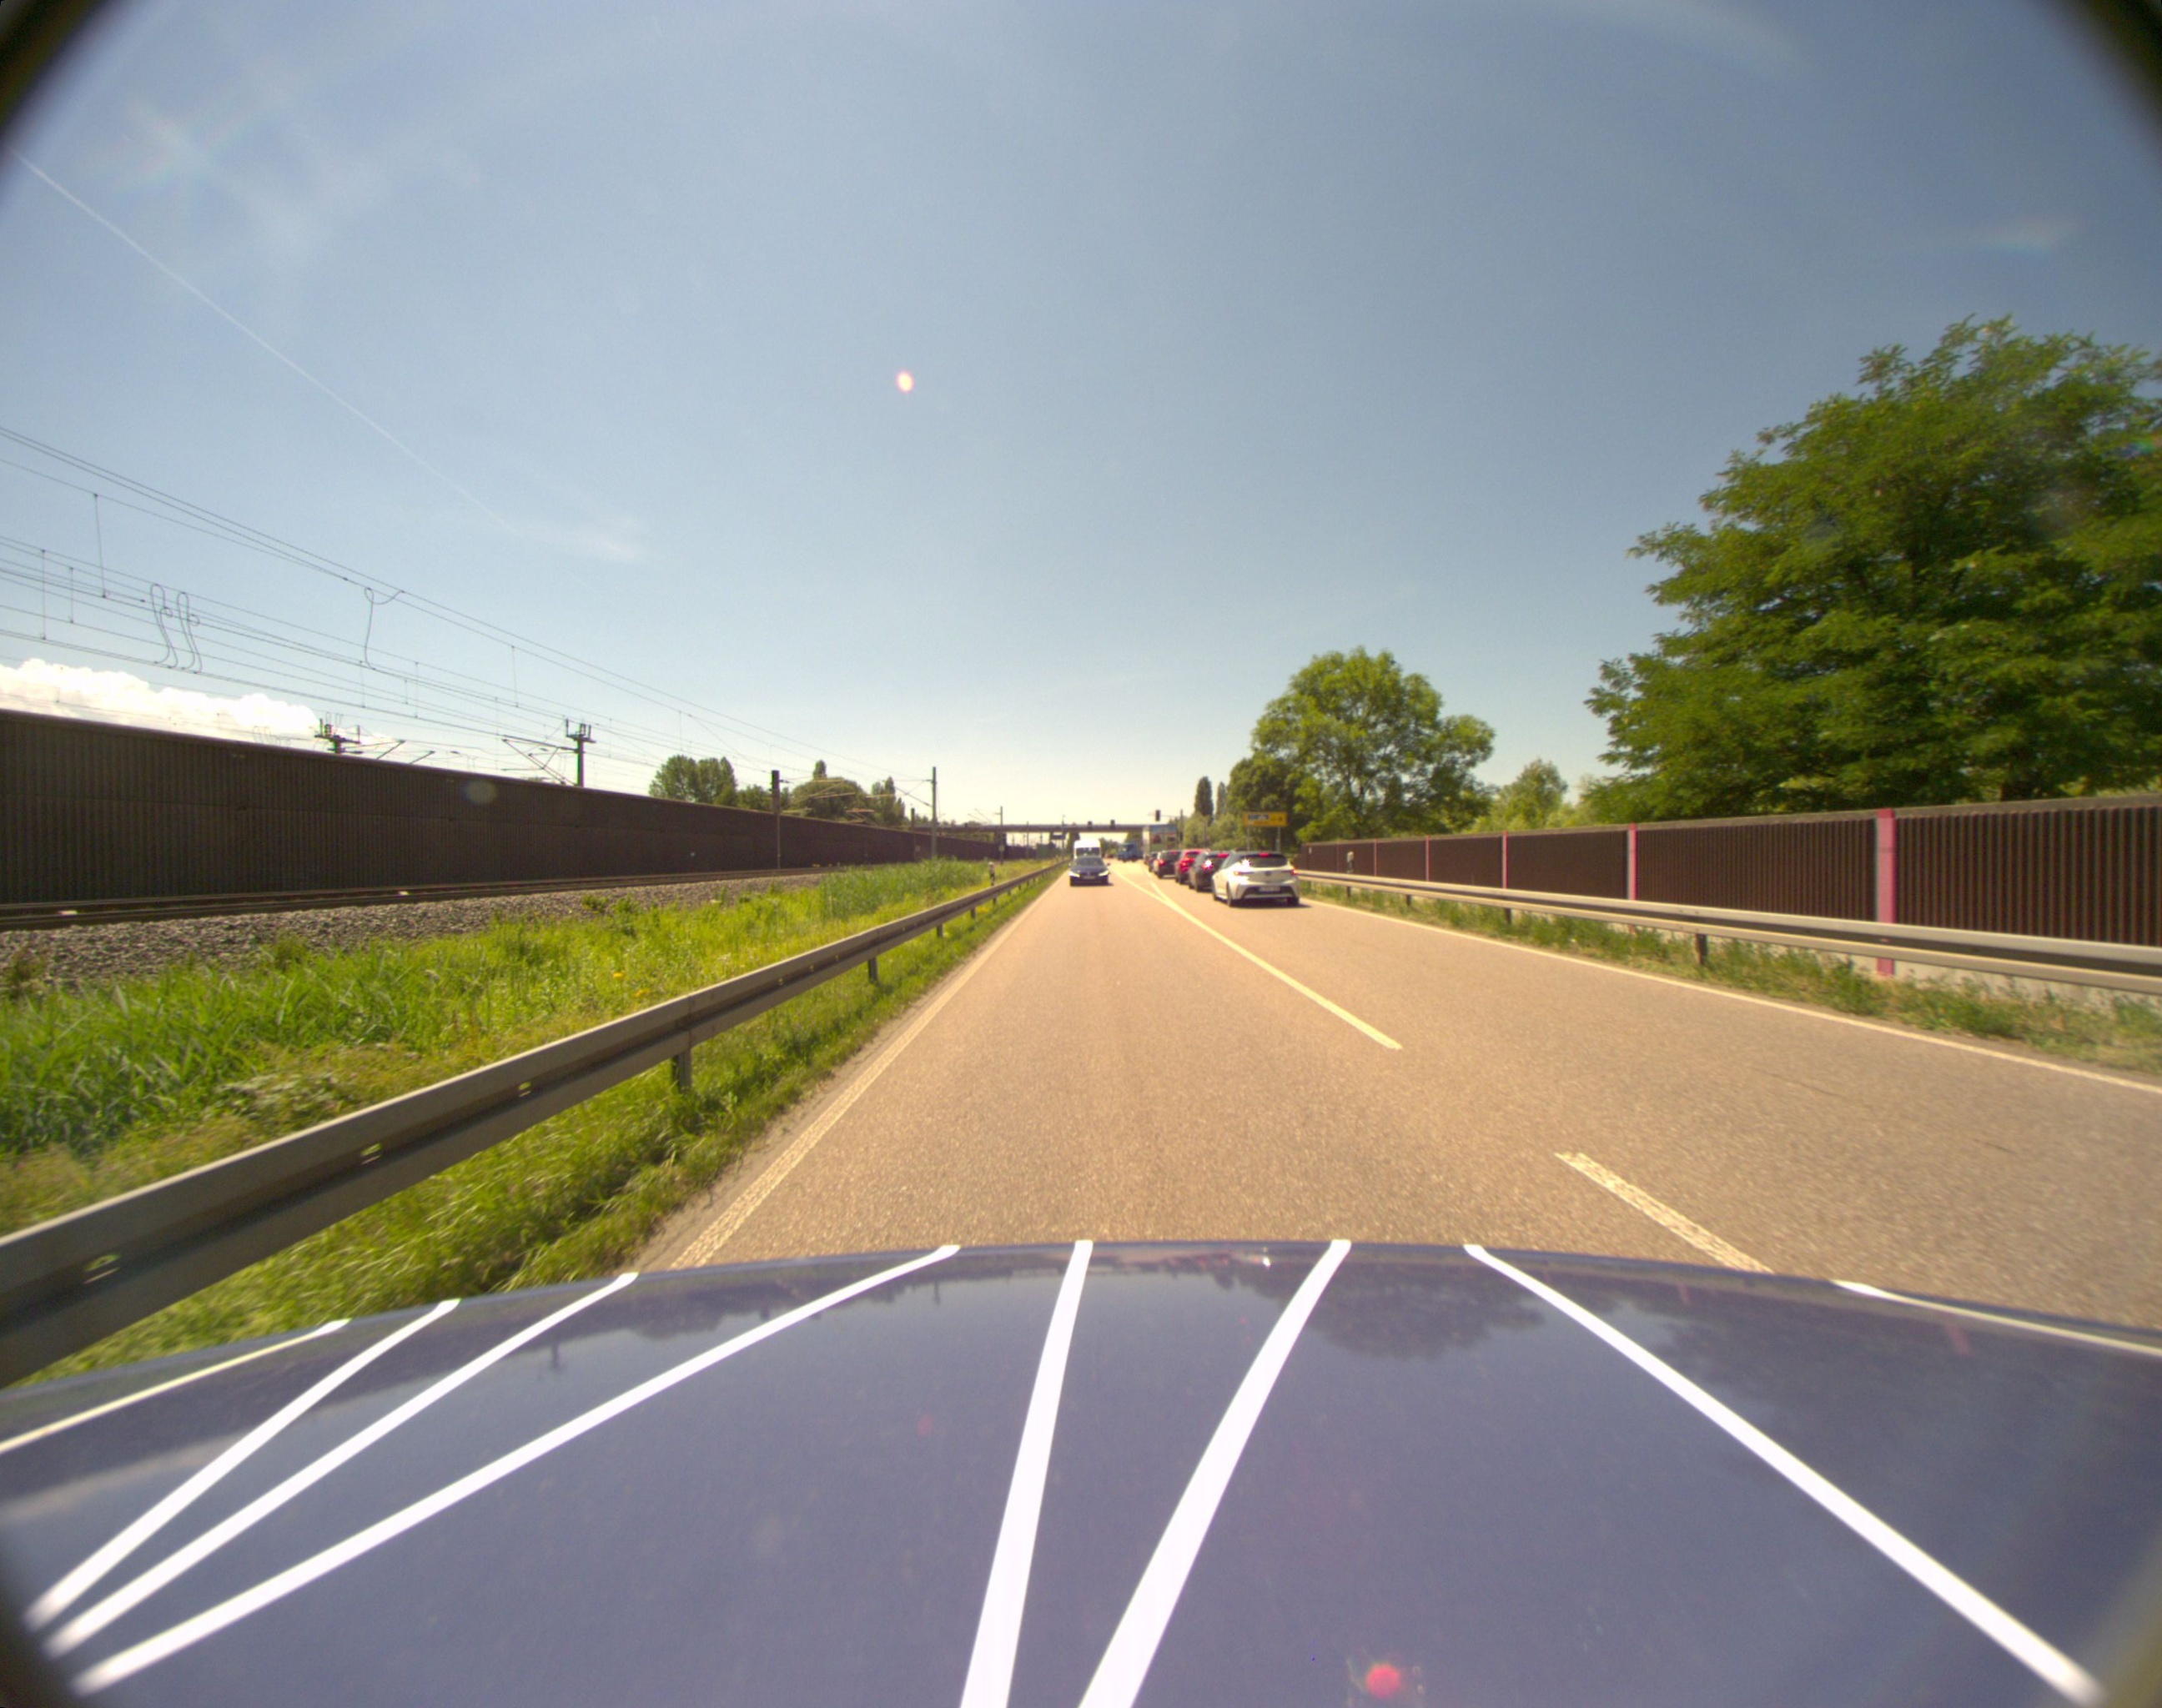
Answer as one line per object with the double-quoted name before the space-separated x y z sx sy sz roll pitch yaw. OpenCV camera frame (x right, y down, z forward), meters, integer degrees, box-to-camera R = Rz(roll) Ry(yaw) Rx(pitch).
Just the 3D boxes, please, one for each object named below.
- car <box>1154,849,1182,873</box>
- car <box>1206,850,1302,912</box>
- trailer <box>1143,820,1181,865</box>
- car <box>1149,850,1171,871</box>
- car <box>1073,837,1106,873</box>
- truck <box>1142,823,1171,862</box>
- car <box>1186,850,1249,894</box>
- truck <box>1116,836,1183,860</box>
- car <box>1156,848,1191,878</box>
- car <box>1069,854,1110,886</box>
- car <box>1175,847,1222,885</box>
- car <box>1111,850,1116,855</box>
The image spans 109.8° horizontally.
"car" 5.740 0.456 50.567 1.657 1.470 4.631 -2 0 4
"car" 4.631 0.659 21.000 1.689 1.451 4.616 -2 0 2
"trailer" 8.008 -1.155 77.050 2.696 4.021 14.124 -2 1 2
"car" 5.966 0.438 57.732 1.627 1.529 4.385 0 0 5
"car" 0.687 0.077 56.812 2.227 2.480 5.983 -2 0 2
"truck" 8.245 -1.237 83.940 2.696 4.022 5.825 -2 1 2
"car" 4.977 0.601 28.282 1.689 1.451 4.616 -2 0 3
"truck" 9.331 -0.798 102.626 9.191 3.177 2.689 -1 1 -30
"car" 5.269 0.489 43.747 1.720 1.580 4.535 -2 0 4
"car" 0.471 0.738 37.266 1.847 1.415 4.562 -2 0 2
"car" 5.440 0.513 35.469 1.759 1.622 4.280 -2 0 4
"car" 10.415 -0.527 242.938 1.599 1.635 3.878 -1 0 1
